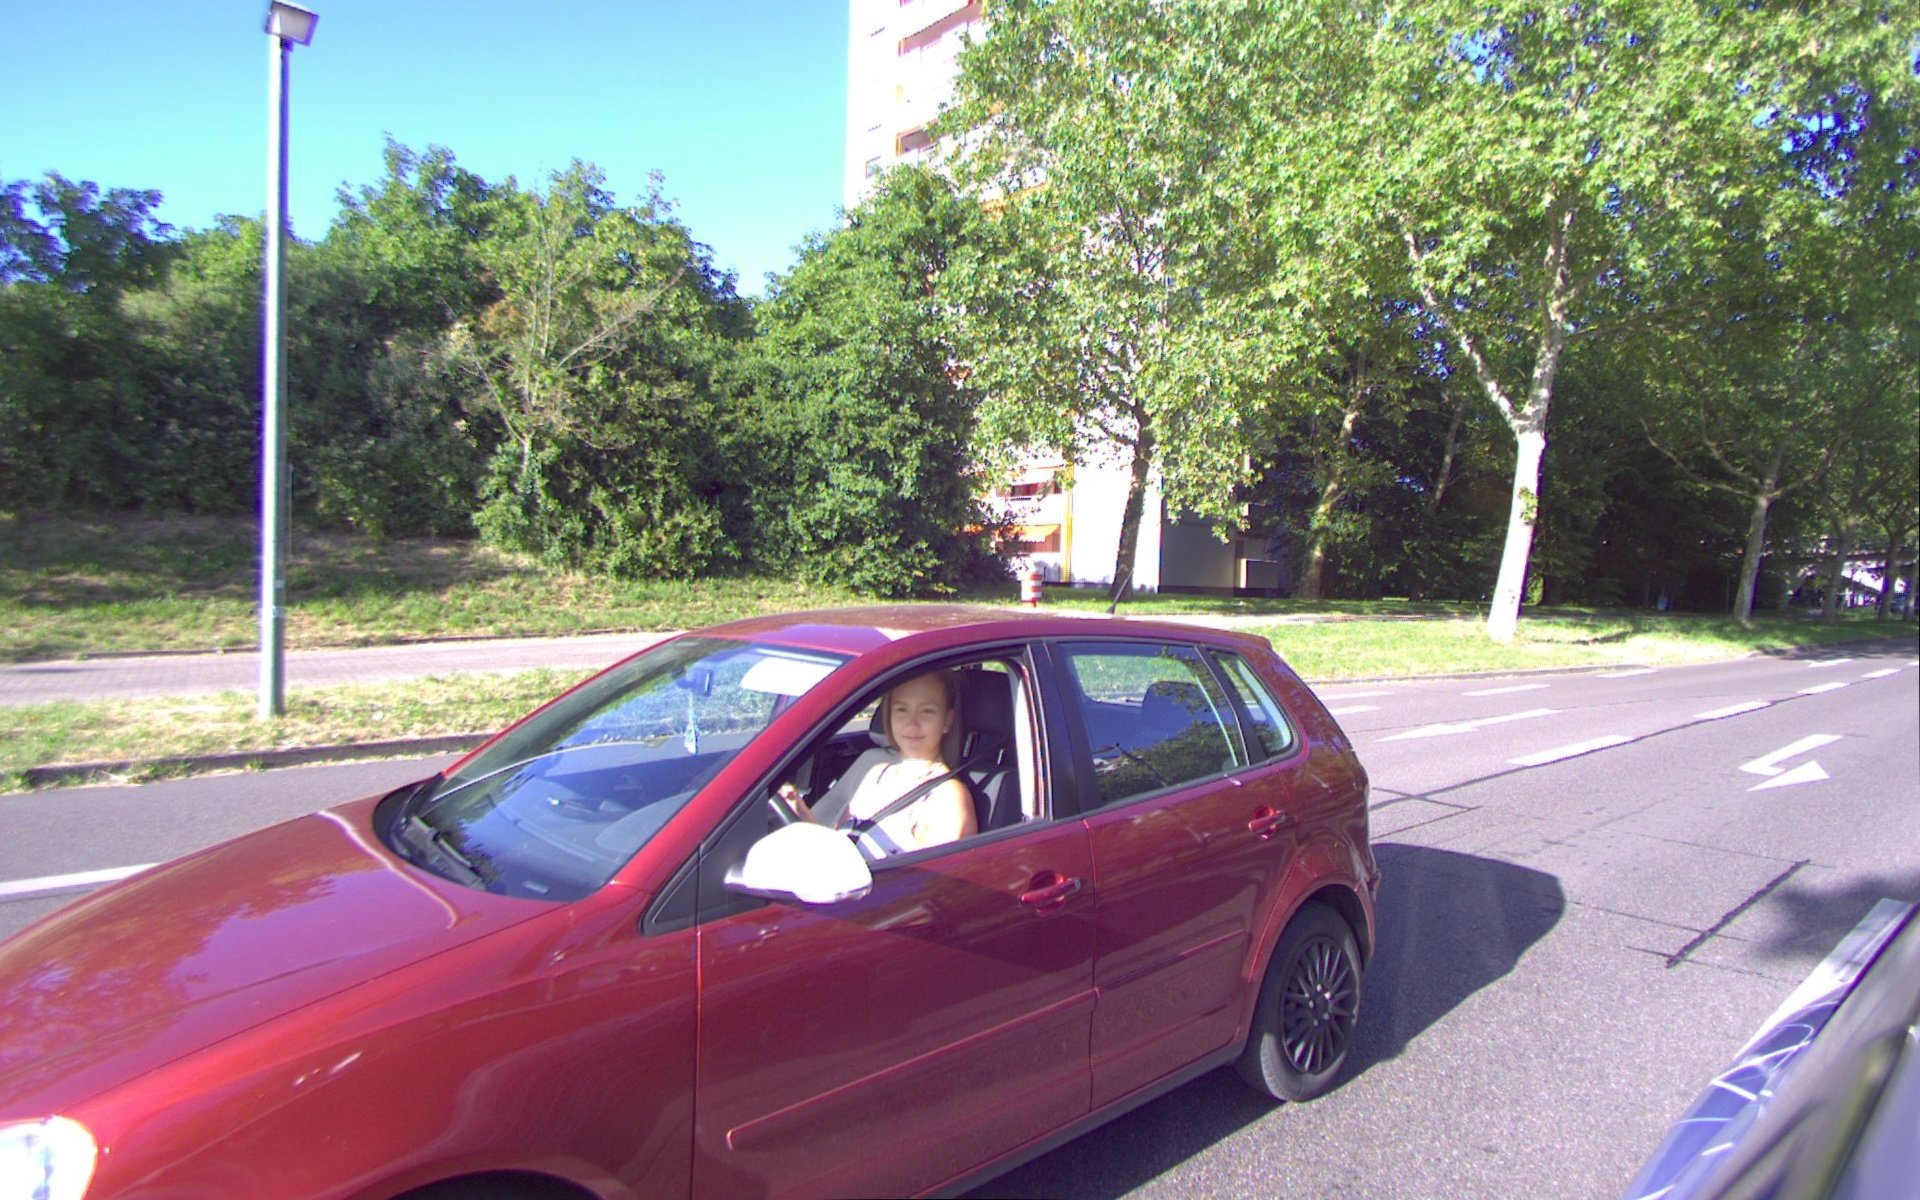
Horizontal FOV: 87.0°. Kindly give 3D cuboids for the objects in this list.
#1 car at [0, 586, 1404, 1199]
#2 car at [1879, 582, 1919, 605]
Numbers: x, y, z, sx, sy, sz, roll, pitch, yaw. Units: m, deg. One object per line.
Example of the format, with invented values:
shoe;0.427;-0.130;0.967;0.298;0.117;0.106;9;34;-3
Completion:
car;-0.448;0.708;2.719;3.624;1.479;1.579;-1;0;-40
car;81.833;-0.577;86.562;4.700;1.959;1.879;1;1;41
